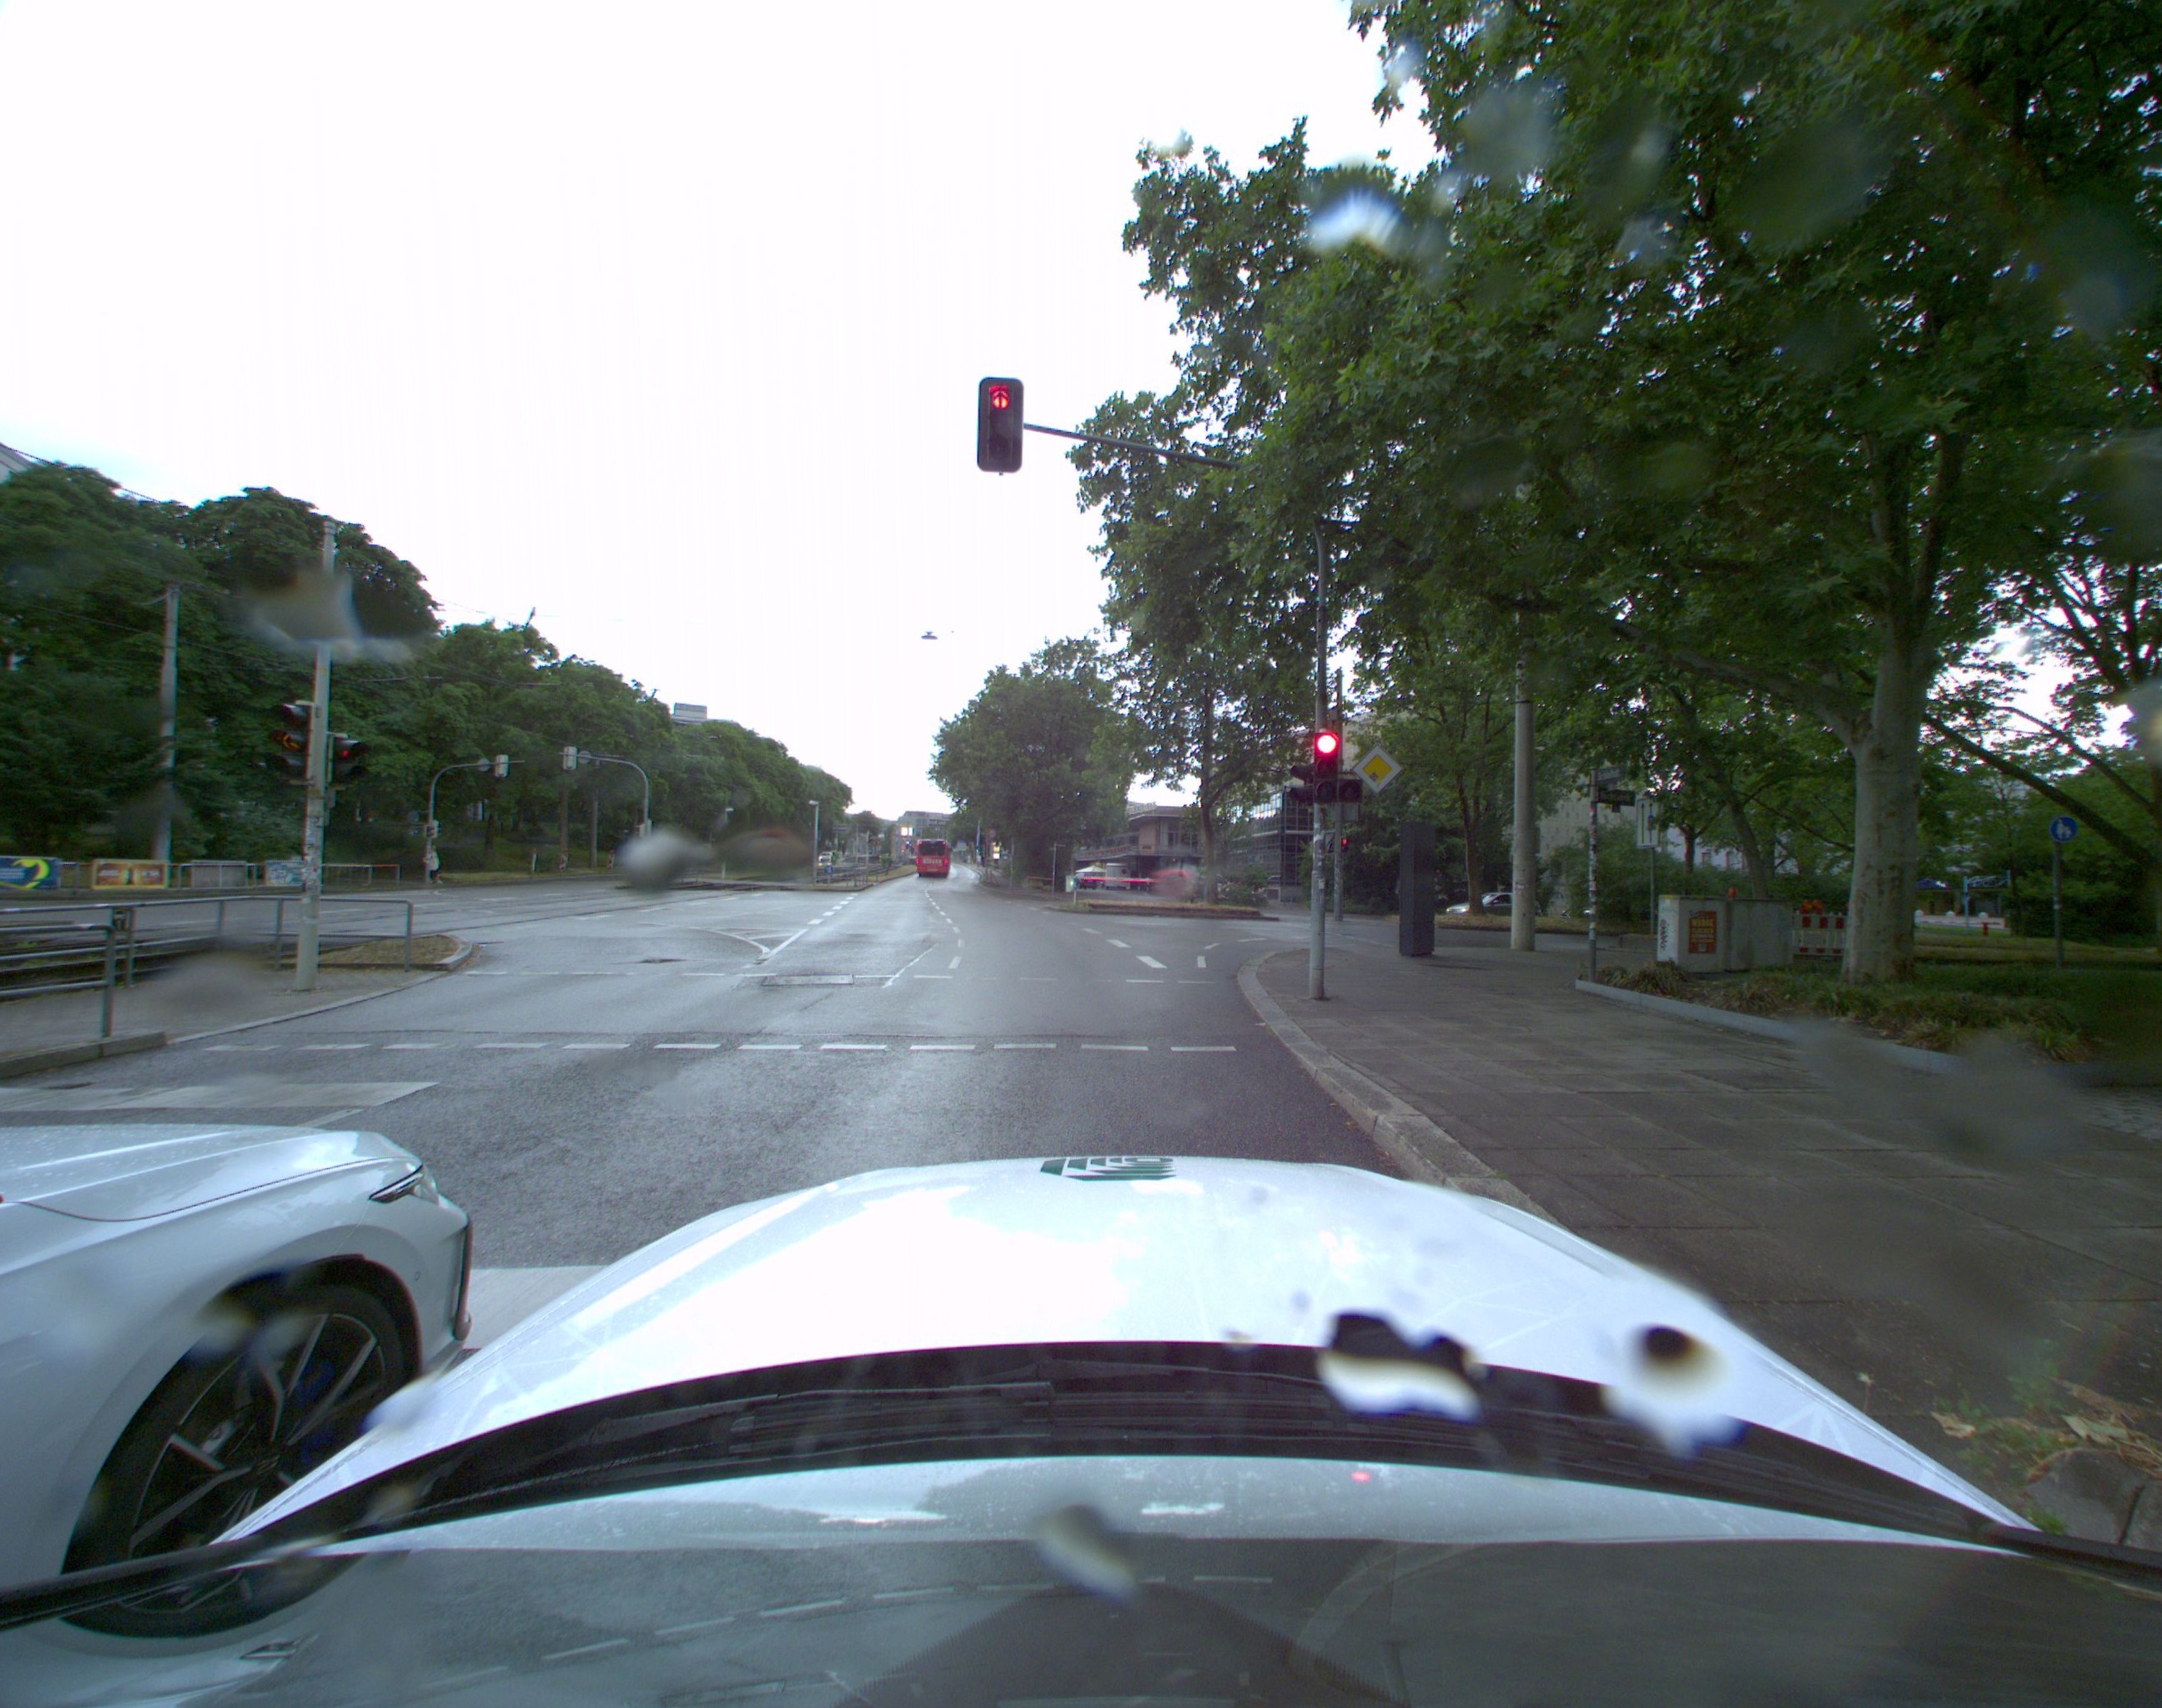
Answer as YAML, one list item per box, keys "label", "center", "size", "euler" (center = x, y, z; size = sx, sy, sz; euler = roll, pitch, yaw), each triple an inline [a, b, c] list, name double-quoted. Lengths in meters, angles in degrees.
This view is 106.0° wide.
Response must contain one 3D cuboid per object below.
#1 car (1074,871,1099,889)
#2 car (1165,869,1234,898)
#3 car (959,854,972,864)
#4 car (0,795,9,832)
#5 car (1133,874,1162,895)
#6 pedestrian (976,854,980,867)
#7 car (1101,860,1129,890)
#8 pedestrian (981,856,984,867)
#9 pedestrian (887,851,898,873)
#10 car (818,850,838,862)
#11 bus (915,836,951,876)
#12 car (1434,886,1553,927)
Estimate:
- label: "car"
  center: [0.519, 2.793, 88.068]
  size: [1.993, 1.860, 3.987]
  euler: [3, -2, -9]
- label: "car"
  center: [9.035, 2.225, 61.986]
  size: [4.762, 1.943, 1.986]
  euler: [3, -2, -20]
- label: "car"
  center: [-21.237, 0.918, 149.817]
  size: [1.995, 1.684, 3.984]
  euler: [3, -2, -12]
- label: "car"
  center: [-52.935, -2.015, 37.907]
  size: [2.005, 1.794, 4.172]
  euler: [4, -2, -28]
- label: "car"
  center: [6.892, 3.139, 84.421]
  size: [1.994, 2.014, 3.985]
  euler: [3, -2, -10]
- label: "pedestrian"
  center: [-13.455, 0.876, 105.935]
  size: [0.370, 1.708, 0.644]
  euler: [2, -1, 2]
- label: "car"
  center: [3.767, 2.362, 90.621]
  size: [2.539, 3.134, 5.024]
  euler: [3, -2, -3]
- label: "pedestrian"
  center: [-12.840, 0.972, 106.082]
  size: [0.370, 1.525, 0.344]
  euler: [2, -1, 1]
- label: "pedestrian"
  center: [-14.521, 0.640, 62.712]
  size: [0.738, 1.640, 0.867]
  euler: [3, -2, -12]
- label: "car"
  center: [-35.275, 0.282, 113.550]
  size: [1.992, 1.519, 3.989]
  euler: [2, 0, -8]
- label: "bus"
  center: [-12.901, 0.266, 70.600]
  size: [2.657, 3.111, 9.147]
  euler: [3, -1, -12]
- label: "car"
  center: [17.264, 2.191, 34.180]
  size: [3.980, 1.442, 1.997]
  euler: [3, -2, -5]
